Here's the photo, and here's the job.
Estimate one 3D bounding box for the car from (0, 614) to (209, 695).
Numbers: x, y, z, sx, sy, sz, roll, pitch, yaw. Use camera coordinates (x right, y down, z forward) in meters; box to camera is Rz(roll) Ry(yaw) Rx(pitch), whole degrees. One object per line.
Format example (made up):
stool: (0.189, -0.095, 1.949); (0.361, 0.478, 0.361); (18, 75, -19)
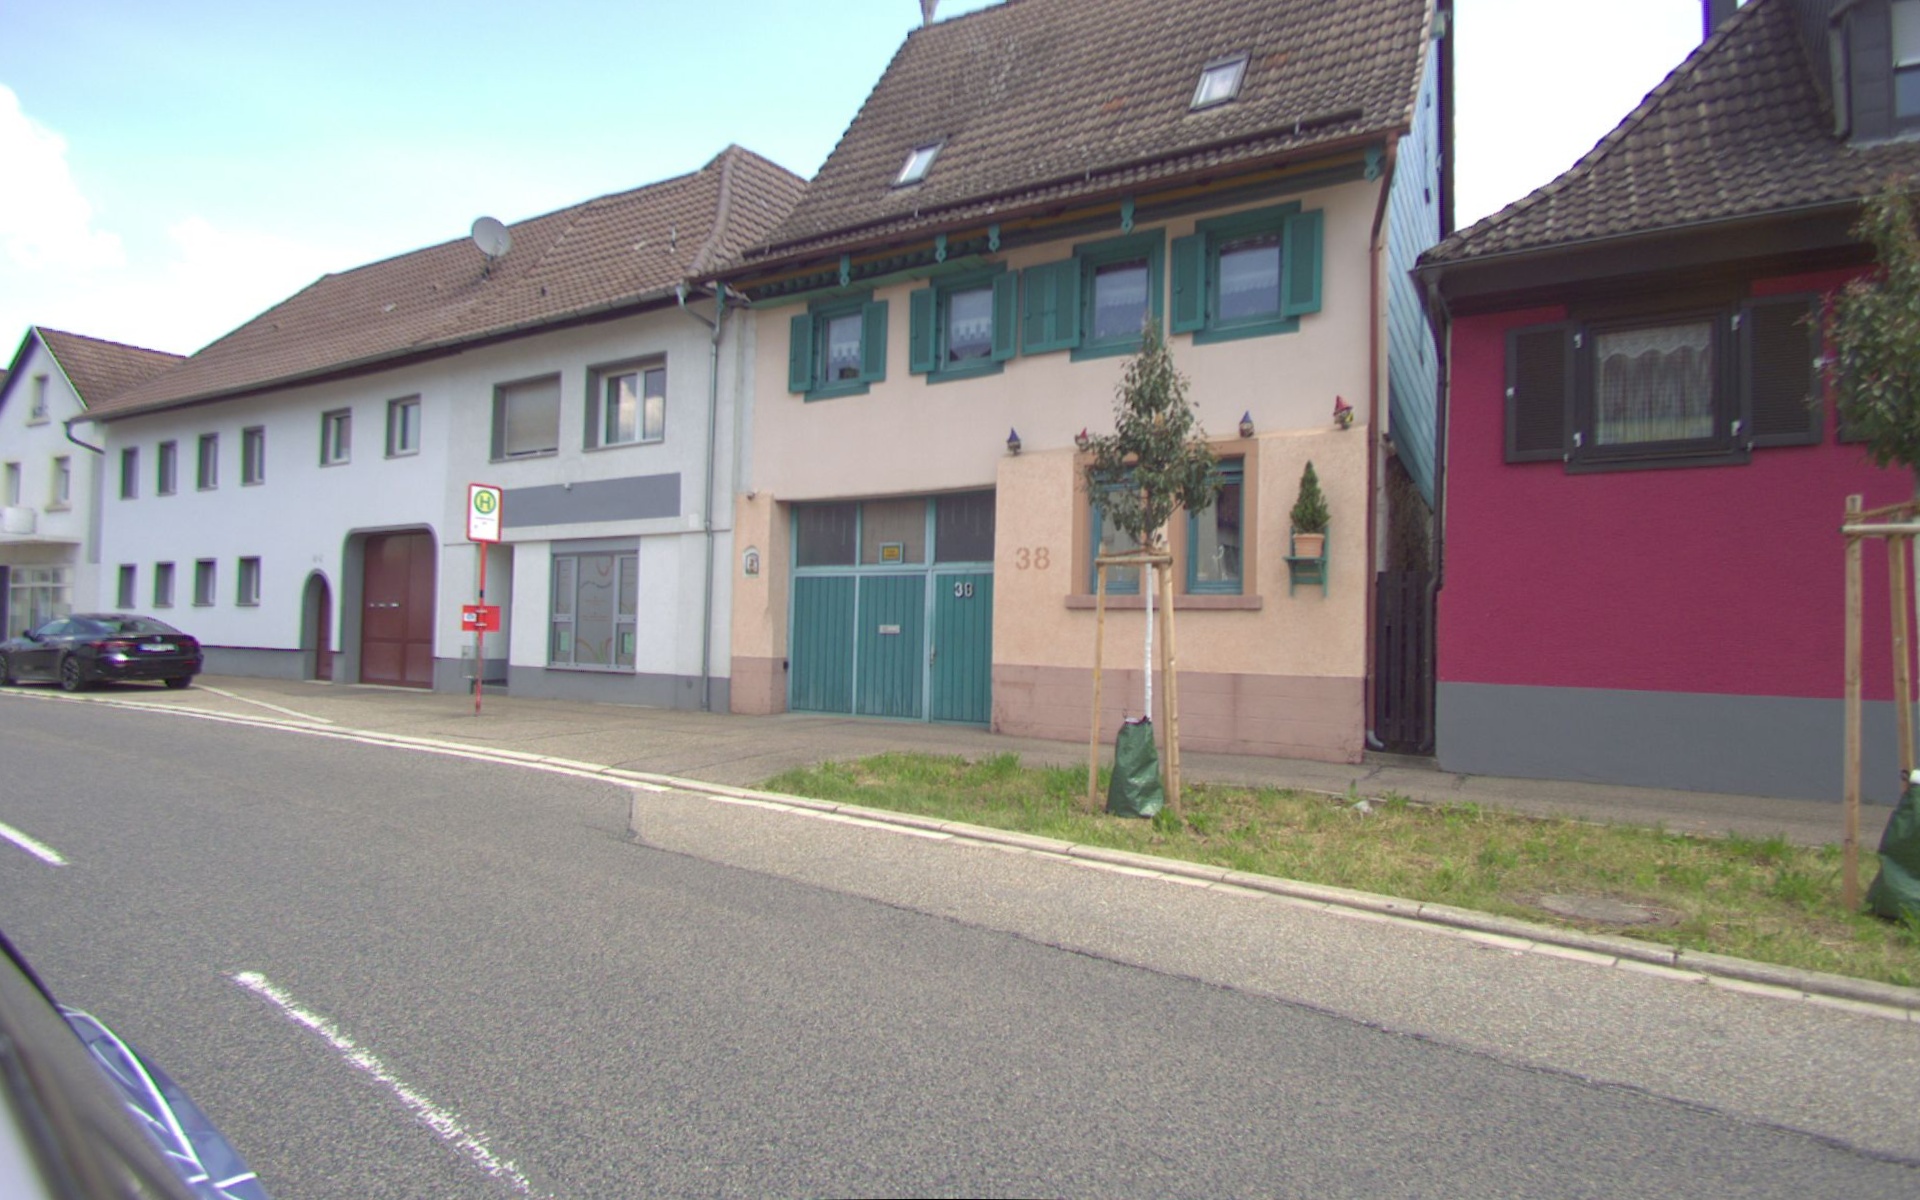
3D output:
car: (-16.275, 0.955, 18.856); (4.732, 1.359, 1.755); (-1, -1, 27)
